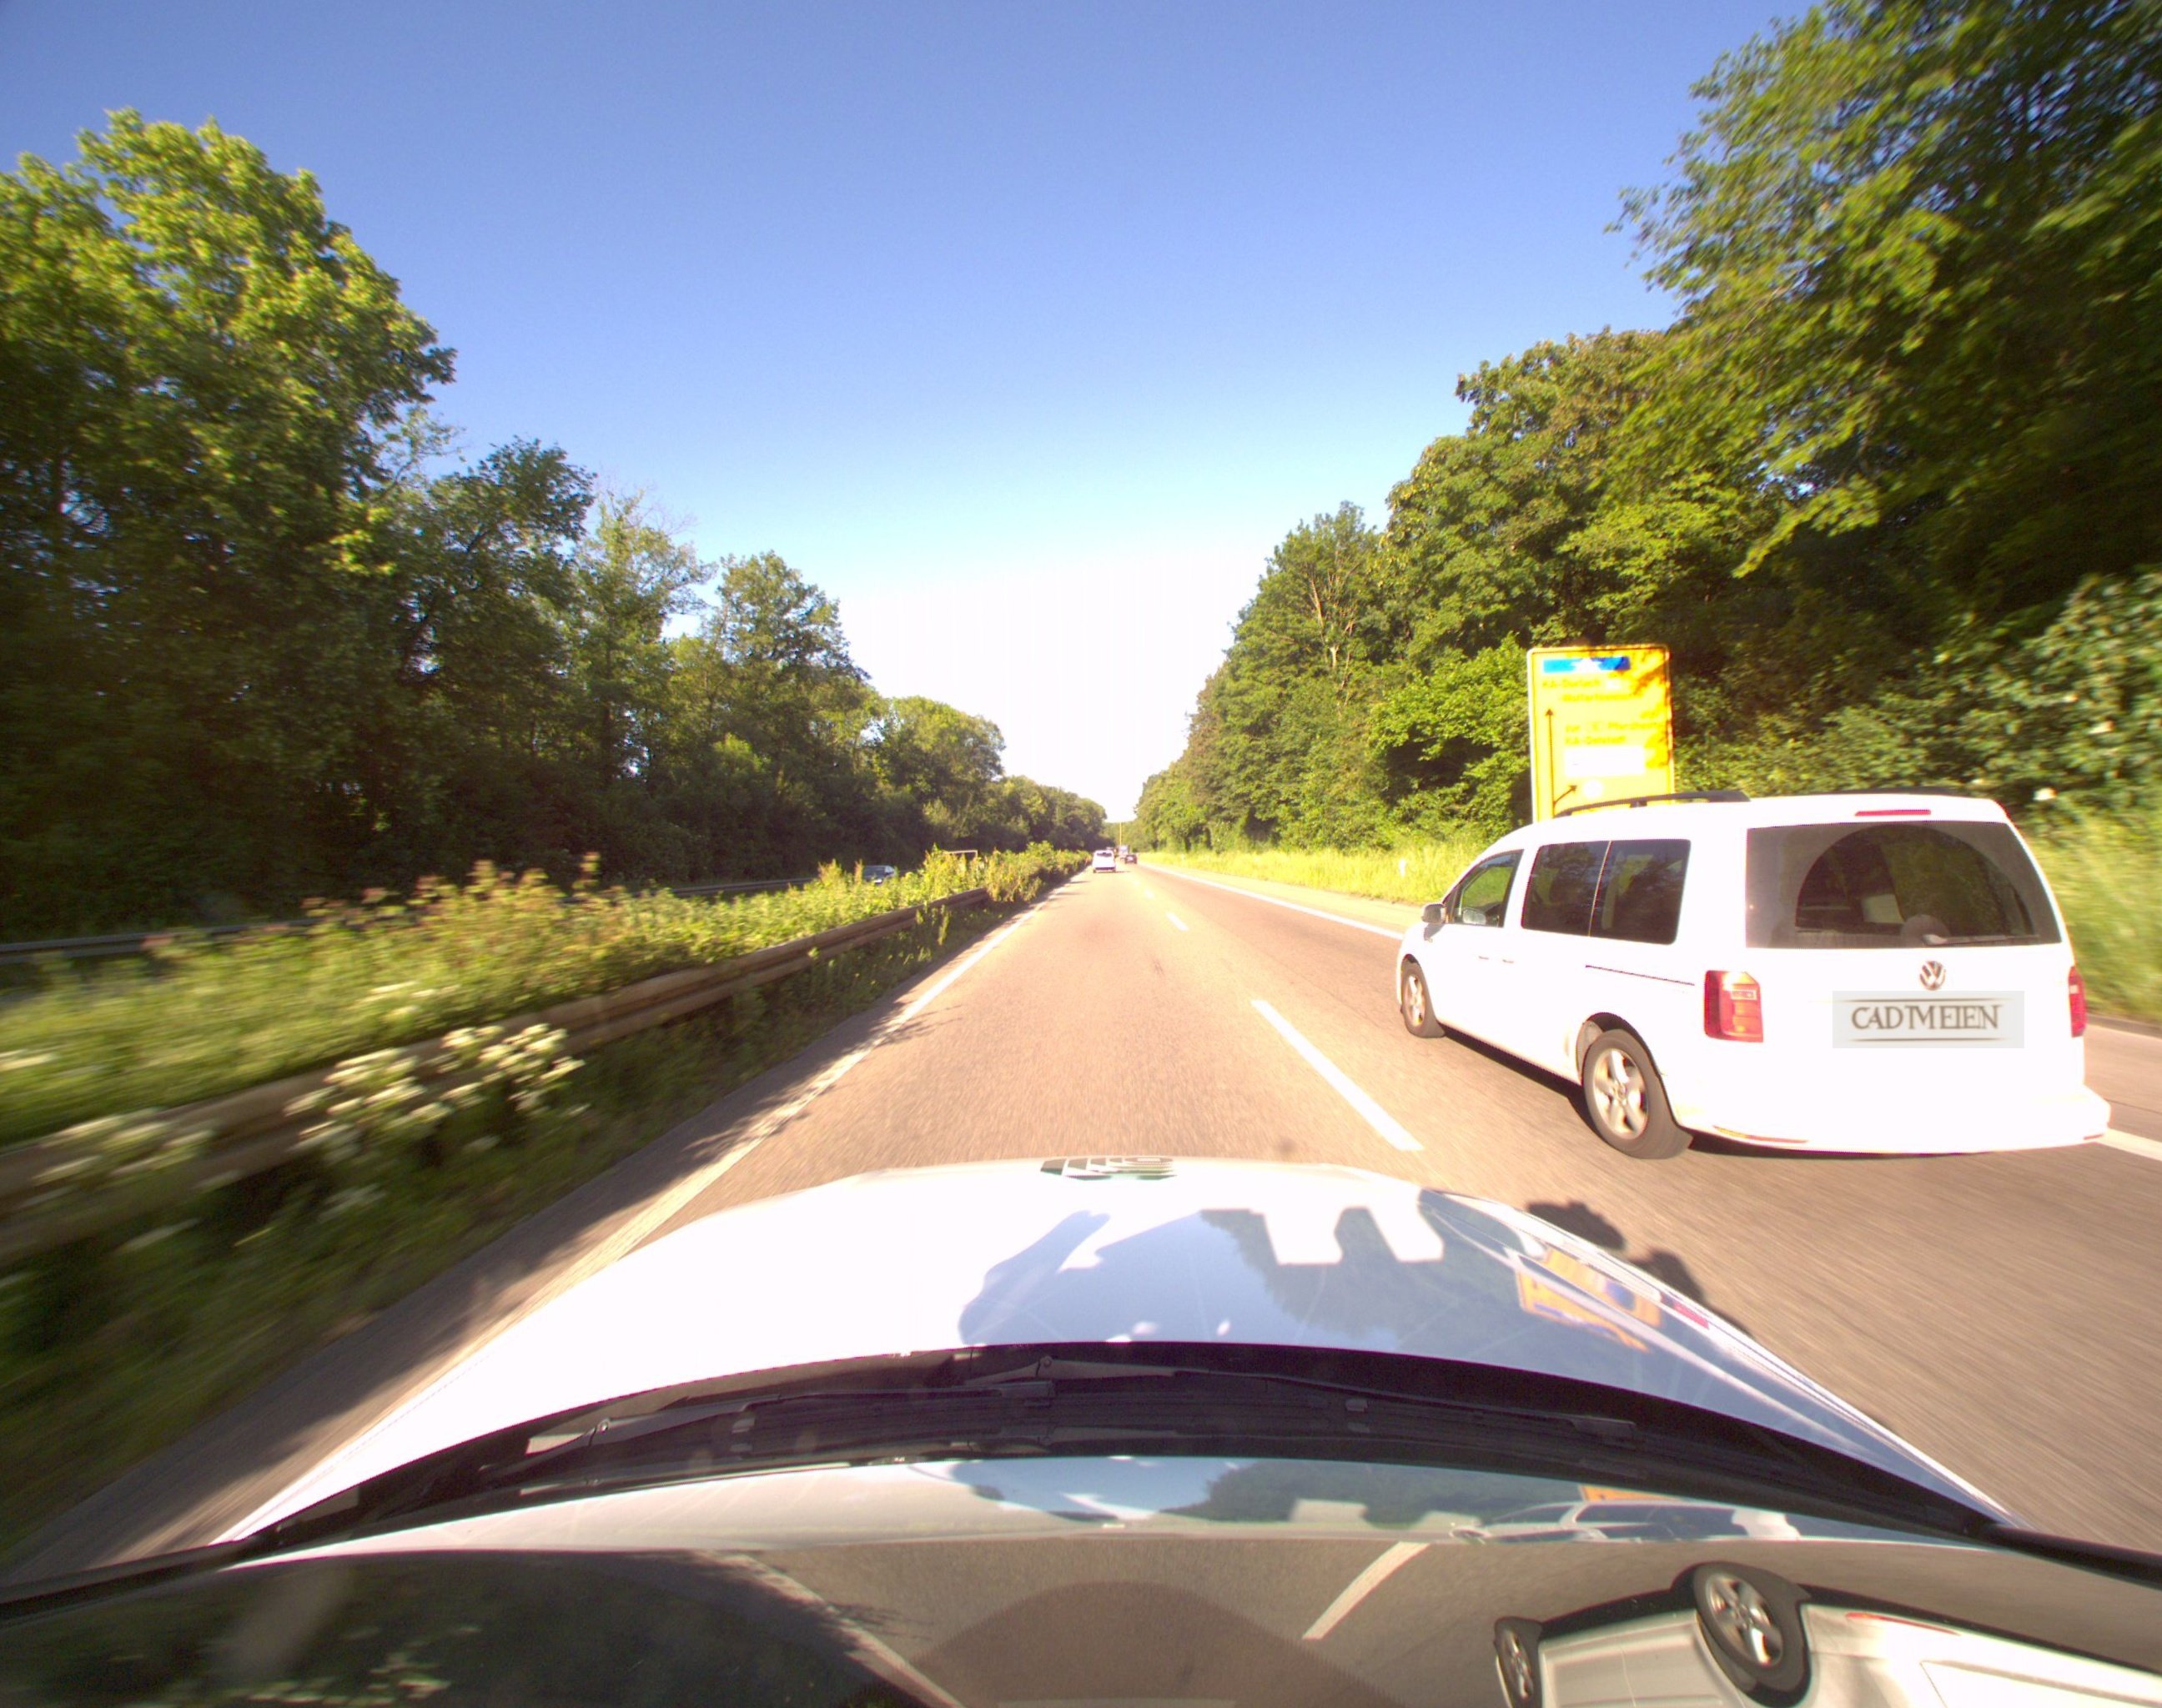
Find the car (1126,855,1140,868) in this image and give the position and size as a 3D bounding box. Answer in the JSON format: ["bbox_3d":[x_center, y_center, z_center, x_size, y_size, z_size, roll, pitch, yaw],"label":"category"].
[{"bbox_3d":[7.680,1.121,120.596,1.944,1.782,4.589,0,0,1],"label":"car"}]

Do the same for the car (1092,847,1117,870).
[{"bbox_3d":[1.928,0.376,66.786,1.944,1.782,4.589,0,0,1],"label":"car"}]

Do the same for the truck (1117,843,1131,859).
[{"bbox_3d":[12.227,-0.838,233.008,3.720,4.343,9.308,0,0,2],"label":"truck"}]

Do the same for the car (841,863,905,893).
[{"bbox_3d":[-10.638,1.205,41.967,1.986,1.424,4.511,0,0,2],"label":"car"}]

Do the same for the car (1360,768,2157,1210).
[{"bbox_3d":[3.578,0.572,5.659,1.792,1.813,4.589,0,0,1],"label":"car"}]
